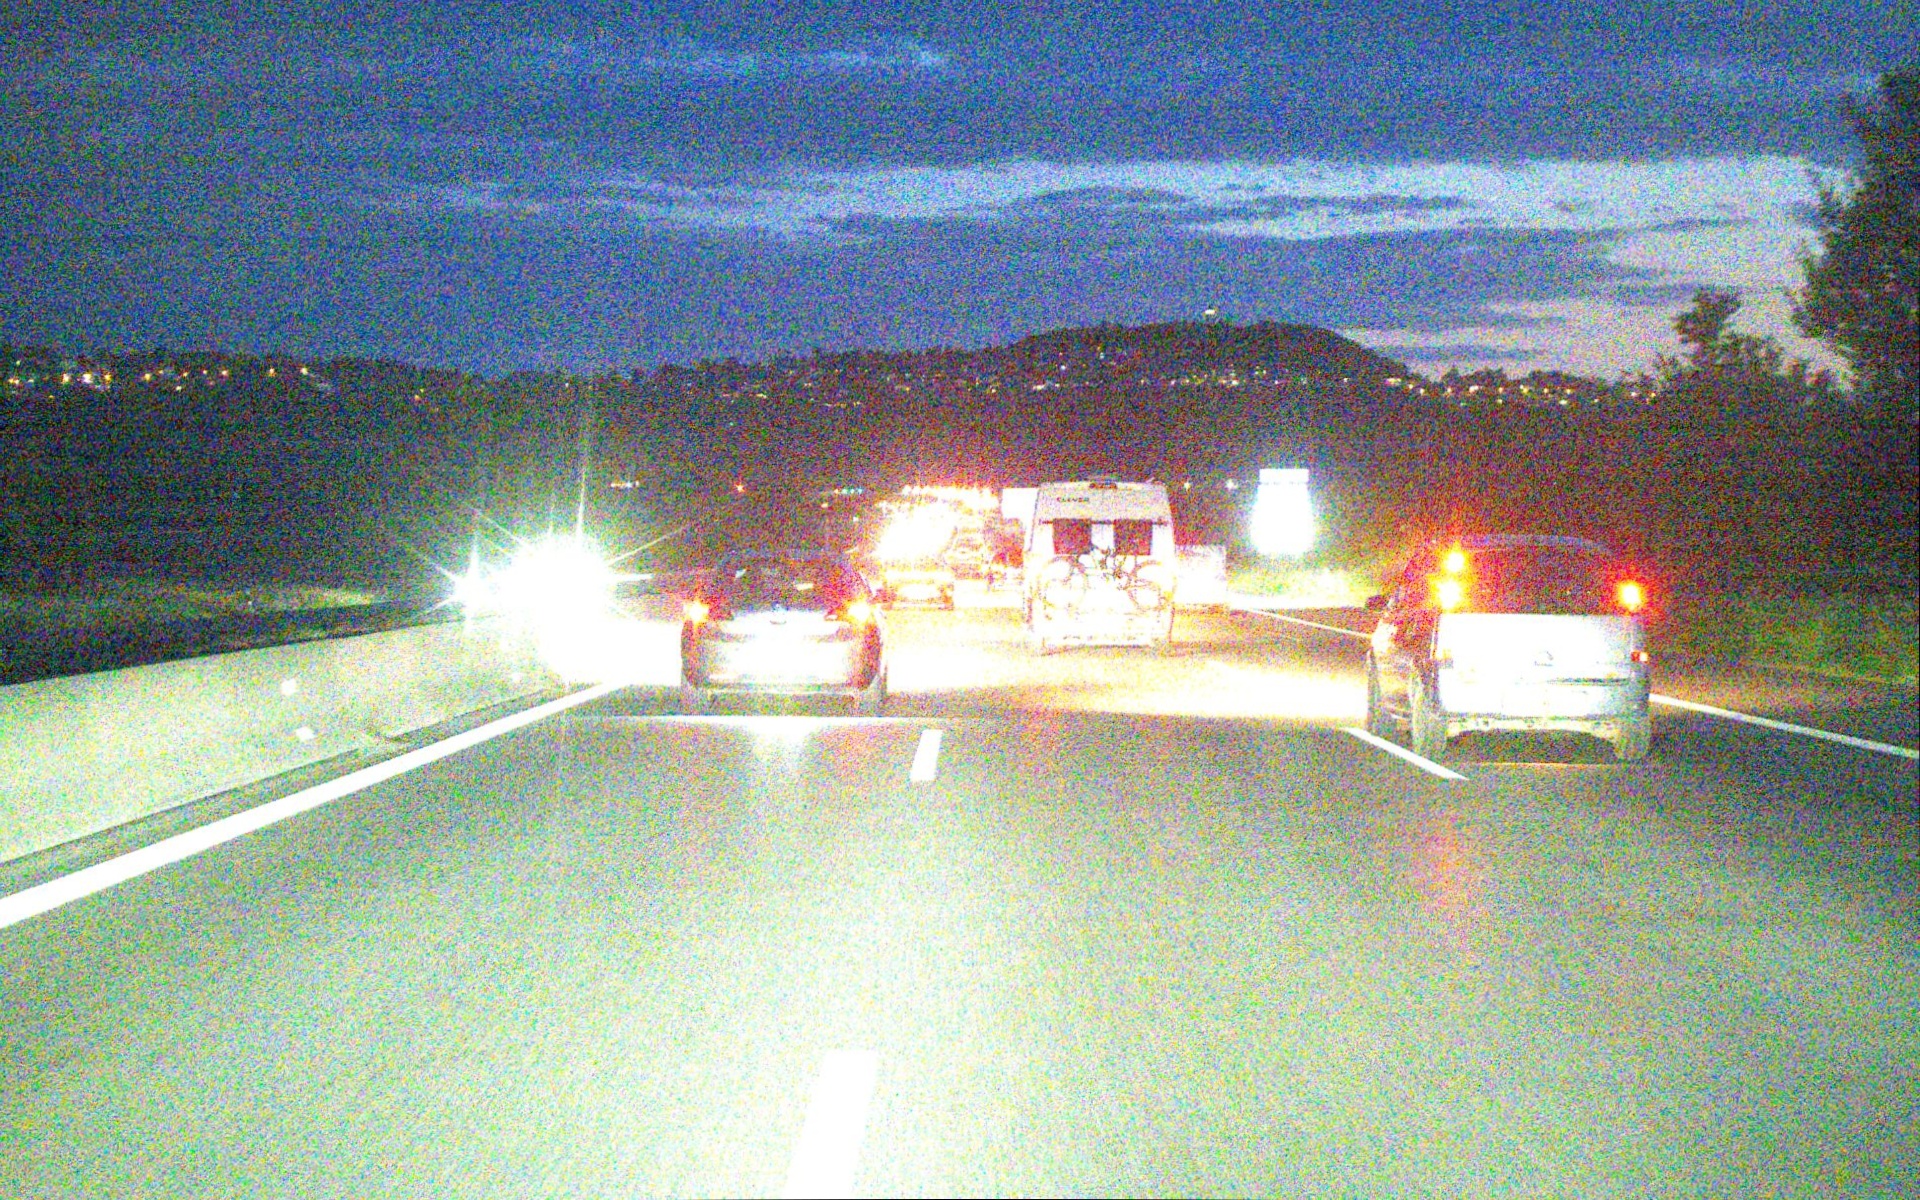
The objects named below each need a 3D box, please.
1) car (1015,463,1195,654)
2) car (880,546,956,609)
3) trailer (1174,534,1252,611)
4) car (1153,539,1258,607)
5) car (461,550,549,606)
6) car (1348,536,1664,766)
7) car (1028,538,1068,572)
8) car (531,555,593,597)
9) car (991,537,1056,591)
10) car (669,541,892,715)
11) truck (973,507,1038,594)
[{"bbox_3d":[1.998,-0.628,49.068,2.351,2.526,5.701,-1,1,1],"label":"car"},{"bbox_3d":[-0.998,-0.567,84.378,1.745,1.435,4.367,-1,1,1],"label":"car"},{"bbox_3d":[5.624,-0.622,76.624,1.566,1.687,2.821,0,1,1],"label":"trailer"},{"bbox_3d":[5.699,-0.652,80.296,2.163,1.558,4.723,0,1,1],"label":"car"},{"bbox_3d":[-13.960,-0.697,105.766,1.903,1.637,5.298,-1,1,1],"label":"car"},{"bbox_3d":[4.055,0.319,26.182,1.646,1.591,4.510,0,1,0],"label":"car"},{"bbox_3d":[5.465,-2.826,214.307,2.351,2.068,4.723,-1,1,1],"label":"car"},{"bbox_3d":[-17.586,-1.081,152.074,2.045,1.714,4.775,-3,1,1],"label":"car"},{"bbox_3d":[2.333,-1.351,127.357,2.351,1.907,4.723,-1,1,1],"label":"car"},{"bbox_3d":[-1.586,0.210,31.515,1.793,1.464,3.773,0,1,1],"label":"car"},{"bbox_3d":[2.107,-2.327,161.614,2.781,3.942,7.994,-1,1,-1],"label":"truck"}]
